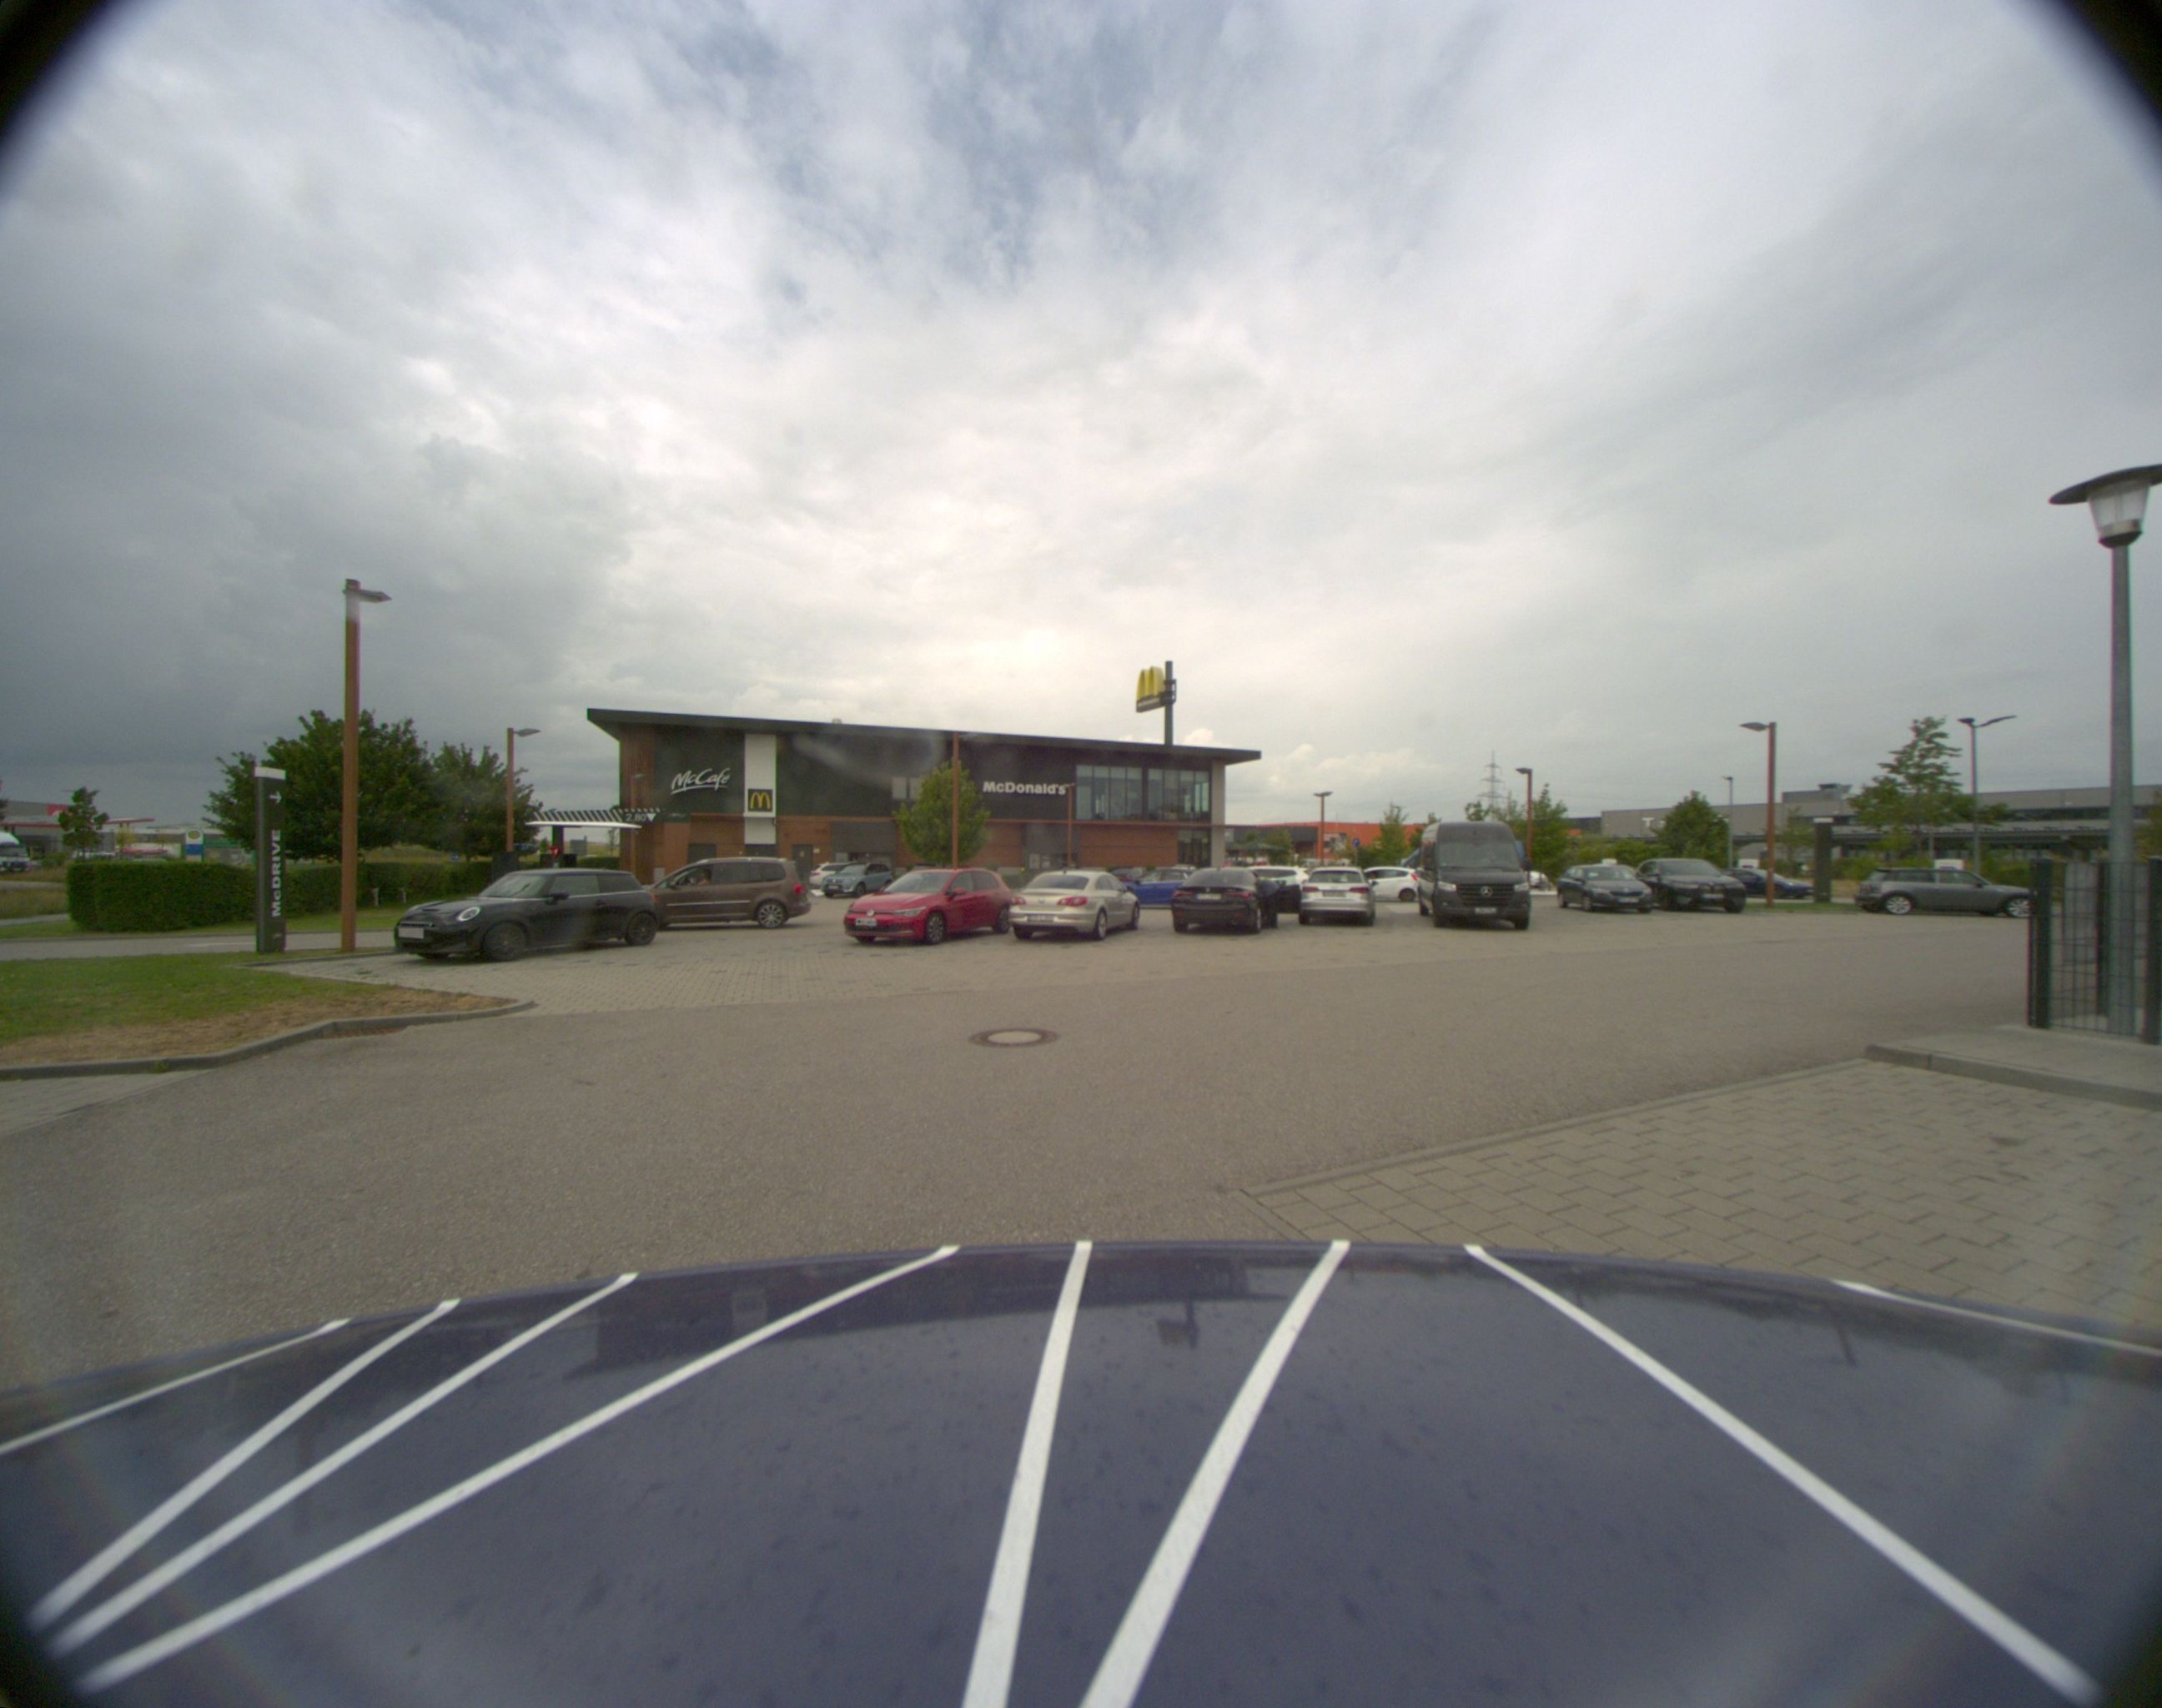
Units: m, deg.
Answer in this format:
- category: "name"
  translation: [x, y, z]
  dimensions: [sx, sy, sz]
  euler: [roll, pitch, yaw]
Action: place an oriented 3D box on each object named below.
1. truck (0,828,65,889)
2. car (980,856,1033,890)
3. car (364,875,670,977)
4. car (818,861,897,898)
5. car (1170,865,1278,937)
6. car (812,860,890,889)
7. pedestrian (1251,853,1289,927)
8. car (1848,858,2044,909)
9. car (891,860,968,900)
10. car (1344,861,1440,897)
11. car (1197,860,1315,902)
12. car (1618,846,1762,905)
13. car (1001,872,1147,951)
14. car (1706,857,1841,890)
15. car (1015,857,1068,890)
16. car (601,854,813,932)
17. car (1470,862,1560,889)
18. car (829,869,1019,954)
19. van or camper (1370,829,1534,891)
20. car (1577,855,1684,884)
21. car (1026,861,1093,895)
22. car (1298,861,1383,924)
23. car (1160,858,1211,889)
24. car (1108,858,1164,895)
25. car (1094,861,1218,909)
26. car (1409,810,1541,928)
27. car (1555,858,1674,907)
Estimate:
- category: "truck"
  translation: [-84.627, 0.206, 55.714]
  dimensions: [12.010, 4.472, 3.760]
  euler: [1, 0, -19]
- category: "car"
  translation: [-4.240, 1.046, 42.754]
  dimensions: [1.755, 1.743, 3.992]
  euler: [1, 0, -23]
- category: "car"
  translation: [-9.302, 1.082, 12.968]
  dimensions: [1.684, 1.403, 3.937]
  euler: [-1, -1, 18]
- category: "car"
  translation: [-10.396, 1.157, 35.620]
  dimensions: [1.747, 1.575, 3.910]
  euler: [1, 0, 15]
- category: "car"
  translation: [3.450, 0.990, 17.703]
  dimensions: [1.683, 1.454, 4.414]
  euler: [-1, -1, 21]
- category: "car"
  translation: [-12.943, 1.143, 42.673]
  dimensions: [4.005, 1.497, 1.785]
  euler: [1, 0, -22]
- category: "pedestrian"
  translation: [4.407, 0.831, 17.699]
  dimensions: [0.747, 1.668, 0.844]
  euler: [-1, 0, 22]
- category: "car"
  translation: [25.740, 0.840, 22.783]
  dimensions: [3.517, 1.368, 1.613]
  euler: [1, 0, 28]
- category: "car"
  translation: [-7.152, 1.228, 36.275]
  dimensions: [1.996, 1.739, 4.006]
  euler: [1, -1, 15]
- category: "car"
  translation: [12.816, 1.014, 31.479]
  dimensions: [3.566, 1.445, 1.846]
  euler: [-1, -1, 21]
- category: "car"
  translation: [6.559, 1.001, 28.421]
  dimensions: [4.102, 1.458, 1.783]
  euler: [0, -2, 19]
- category: "car"
  translation: [19.693, 0.662, 24.873]
  dimensions: [1.996, 1.717, 4.904]
  euler: [1, 0, 17]
- category: "car"
  translation: [0.021, 1.100, 16.209]
  dimensions: [1.750, 1.403, 4.466]
  euler: [-1, -1, 18]
- category: "car"
  translation: [33.117, 0.898, 36.526]
  dimensions: [1.835, 1.450, 4.448]
  euler: [-1, 0, -20]
- category: "car"
  translation: [-2.334, 1.097, 43.702]
  dimensions: [1.755, 1.743, 3.992]
  euler: [1, 0, -23]
- category: "car"
  translation: [-8.642, 0.897, 17.962]
  dimensions: [4.194, 1.680, 1.808]
  euler: [1, 0, -16]
- category: "car"
  translation: [28.288, 1.343, 49.735]
  dimensions: [2.075, 1.593, 4.935]
  euler: [0, 1, -21]
- category: "car"
  translation: [-3.004, 1.057, 15.425]
  dimensions: [1.683, 1.455, 4.008]
  euler: [-1, -1, 25]
- category: "van or camper"
  translation: [16.932, 0.351, 35.004]
  dimensions: [6.557, 2.684, 2.177]
  euler: [-1, -1, 27]
- category: "car"
  translation: [30.939, 0.815, 42.971]
  dimensions: [2.076, 1.544, 4.469]
  euler: [0, 0, -23]
- category: "car"
  translation: [-1.046, 1.198, 39.378]
  dimensions: [1.833, 1.565, 4.100]
  euler: [0, 1, 24]
- category: "car"
  translation: [6.763, 0.924, 19.573]
  dimensions: [1.683, 1.442, 4.007]
  euler: [-1, -1, 24]
- category: "car"
  translation: [5.891, 1.025, 42.340]
  dimensions: [1.786, 1.478, 4.006]
  euler: [2, 2, 23]
- category: "car"
  translation: [2.982, 1.135, 40.493]
  dimensions: [1.894, 1.653, 4.264]
  euler: [1, 2, 19]
- category: "car"
  translation: [2.676, 1.061, 27.083]
  dimensions: [3.990, 1.501, 1.772]
  euler: [1, 0, 23]
- category: "car"
  translation: [10.052, 0.335, 19.977]
  dimensions: [2.068, 2.538, 7.023]
  euler: [-1, 0, 19]
- category: "car"
  translation: [16.623, 0.843, 23.916]
  dimensions: [1.829, 1.403, 4.005]
  euler: [-1, 0, 16]
